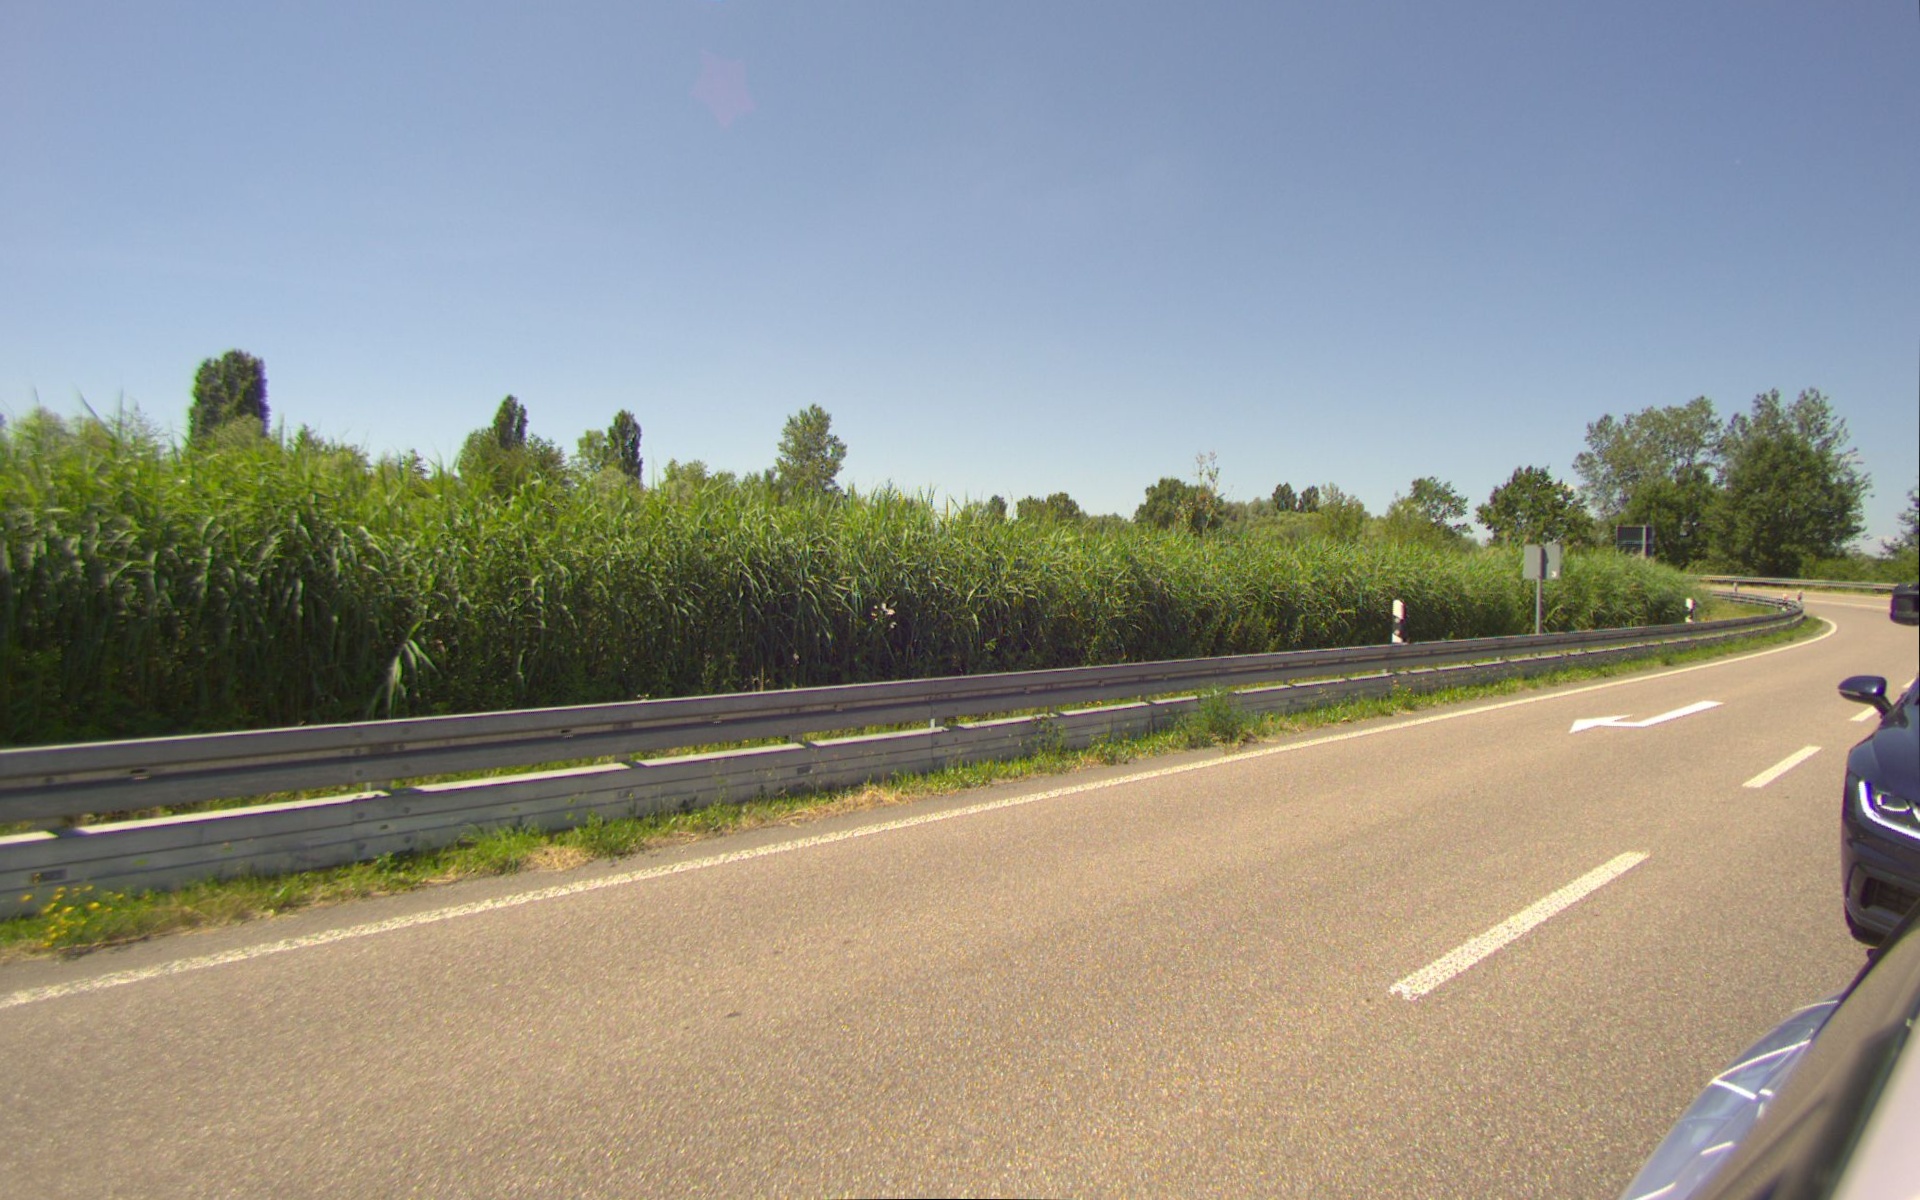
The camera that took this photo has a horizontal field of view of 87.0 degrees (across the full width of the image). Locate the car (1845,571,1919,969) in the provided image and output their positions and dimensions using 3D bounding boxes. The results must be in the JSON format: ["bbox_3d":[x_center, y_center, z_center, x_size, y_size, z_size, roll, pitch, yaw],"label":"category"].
[{"bbox_3d":[5.652,0.621,4.652,4.338,1.481,1.818,-1,1,-41],"label":"car"}]
